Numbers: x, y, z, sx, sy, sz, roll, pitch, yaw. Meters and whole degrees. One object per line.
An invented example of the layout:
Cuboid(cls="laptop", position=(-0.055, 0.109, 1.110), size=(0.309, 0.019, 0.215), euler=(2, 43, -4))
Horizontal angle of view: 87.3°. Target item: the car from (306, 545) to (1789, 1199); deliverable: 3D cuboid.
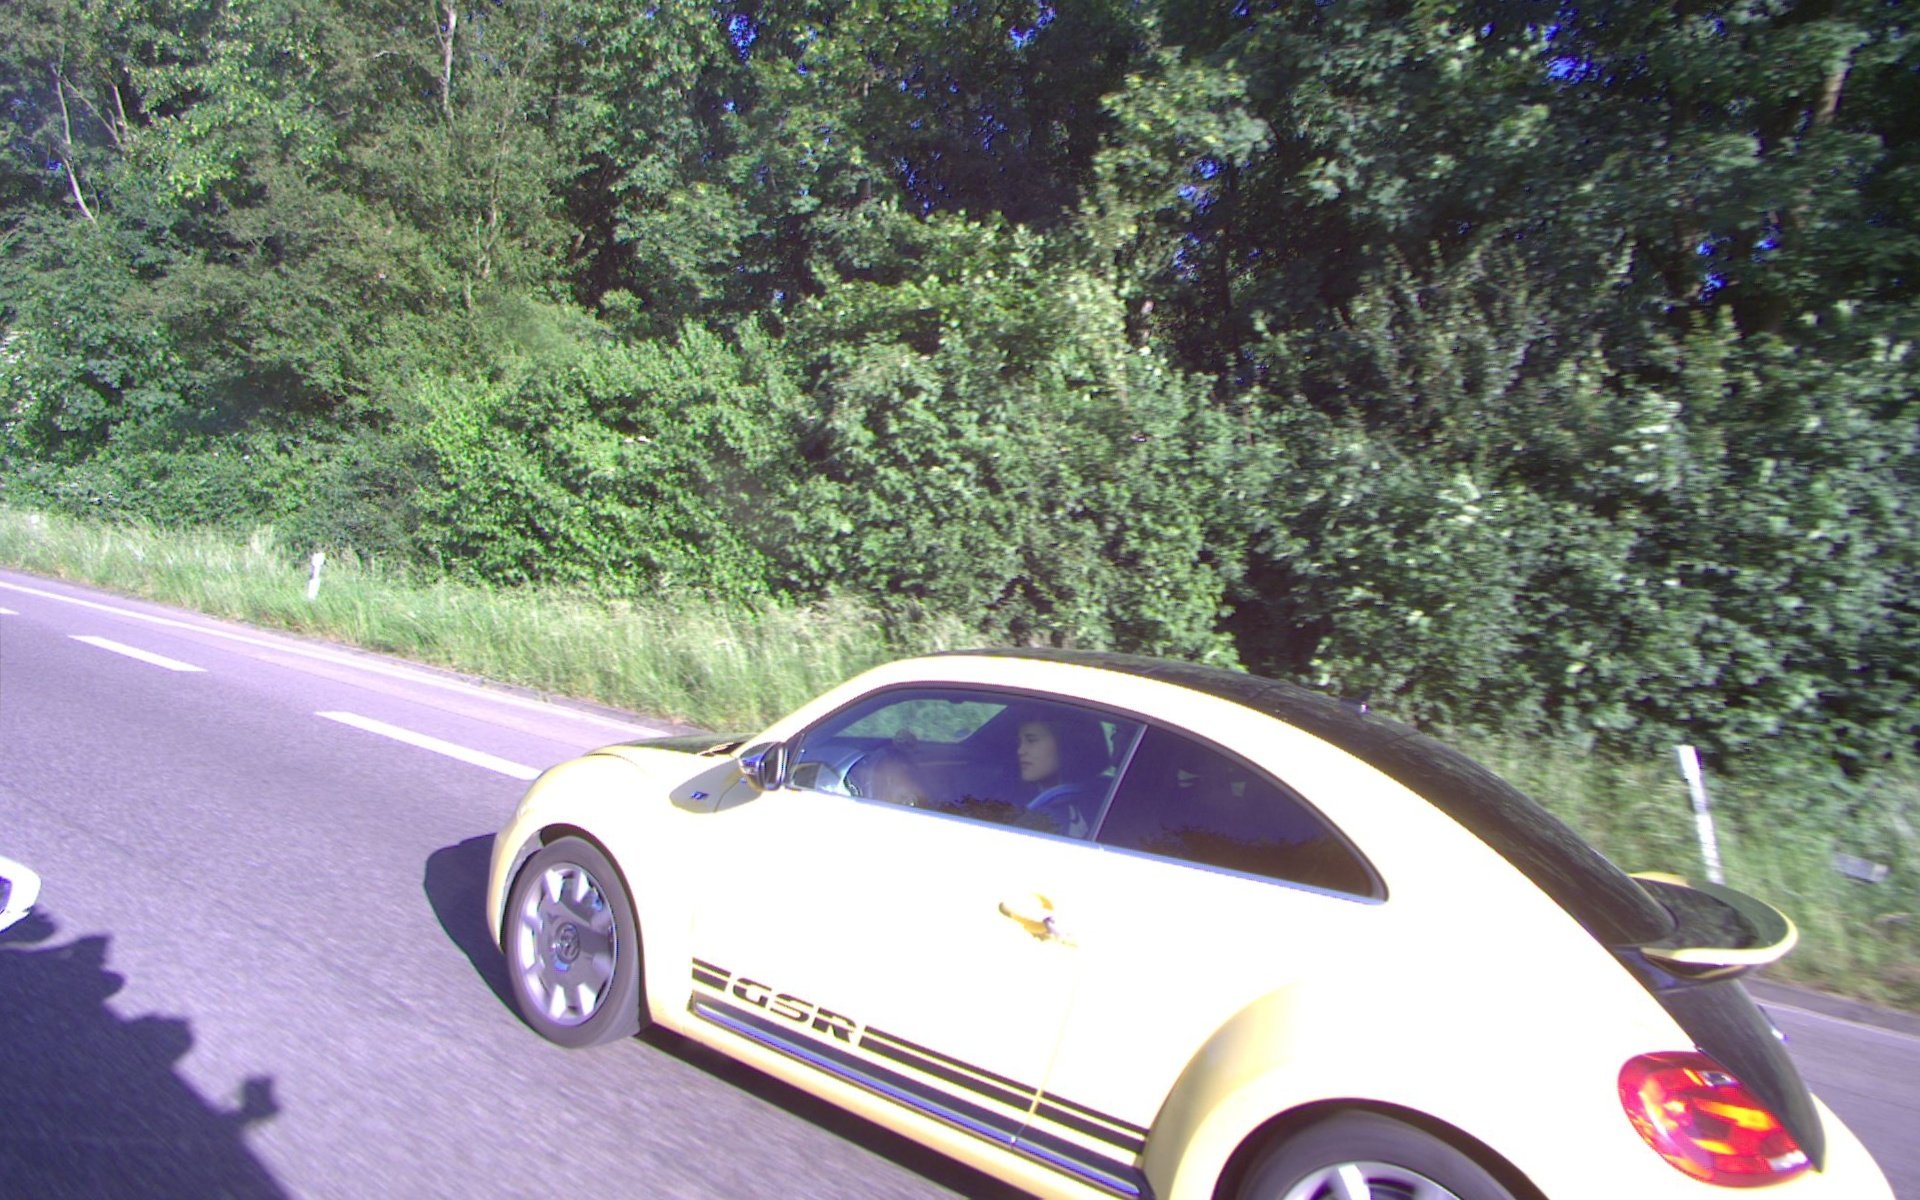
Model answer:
Cuboid(cls="car", position=(-0.100, 0.814, 3.553), size=(4.282, 1.479, 1.883), euler=(6, -1, 30))
